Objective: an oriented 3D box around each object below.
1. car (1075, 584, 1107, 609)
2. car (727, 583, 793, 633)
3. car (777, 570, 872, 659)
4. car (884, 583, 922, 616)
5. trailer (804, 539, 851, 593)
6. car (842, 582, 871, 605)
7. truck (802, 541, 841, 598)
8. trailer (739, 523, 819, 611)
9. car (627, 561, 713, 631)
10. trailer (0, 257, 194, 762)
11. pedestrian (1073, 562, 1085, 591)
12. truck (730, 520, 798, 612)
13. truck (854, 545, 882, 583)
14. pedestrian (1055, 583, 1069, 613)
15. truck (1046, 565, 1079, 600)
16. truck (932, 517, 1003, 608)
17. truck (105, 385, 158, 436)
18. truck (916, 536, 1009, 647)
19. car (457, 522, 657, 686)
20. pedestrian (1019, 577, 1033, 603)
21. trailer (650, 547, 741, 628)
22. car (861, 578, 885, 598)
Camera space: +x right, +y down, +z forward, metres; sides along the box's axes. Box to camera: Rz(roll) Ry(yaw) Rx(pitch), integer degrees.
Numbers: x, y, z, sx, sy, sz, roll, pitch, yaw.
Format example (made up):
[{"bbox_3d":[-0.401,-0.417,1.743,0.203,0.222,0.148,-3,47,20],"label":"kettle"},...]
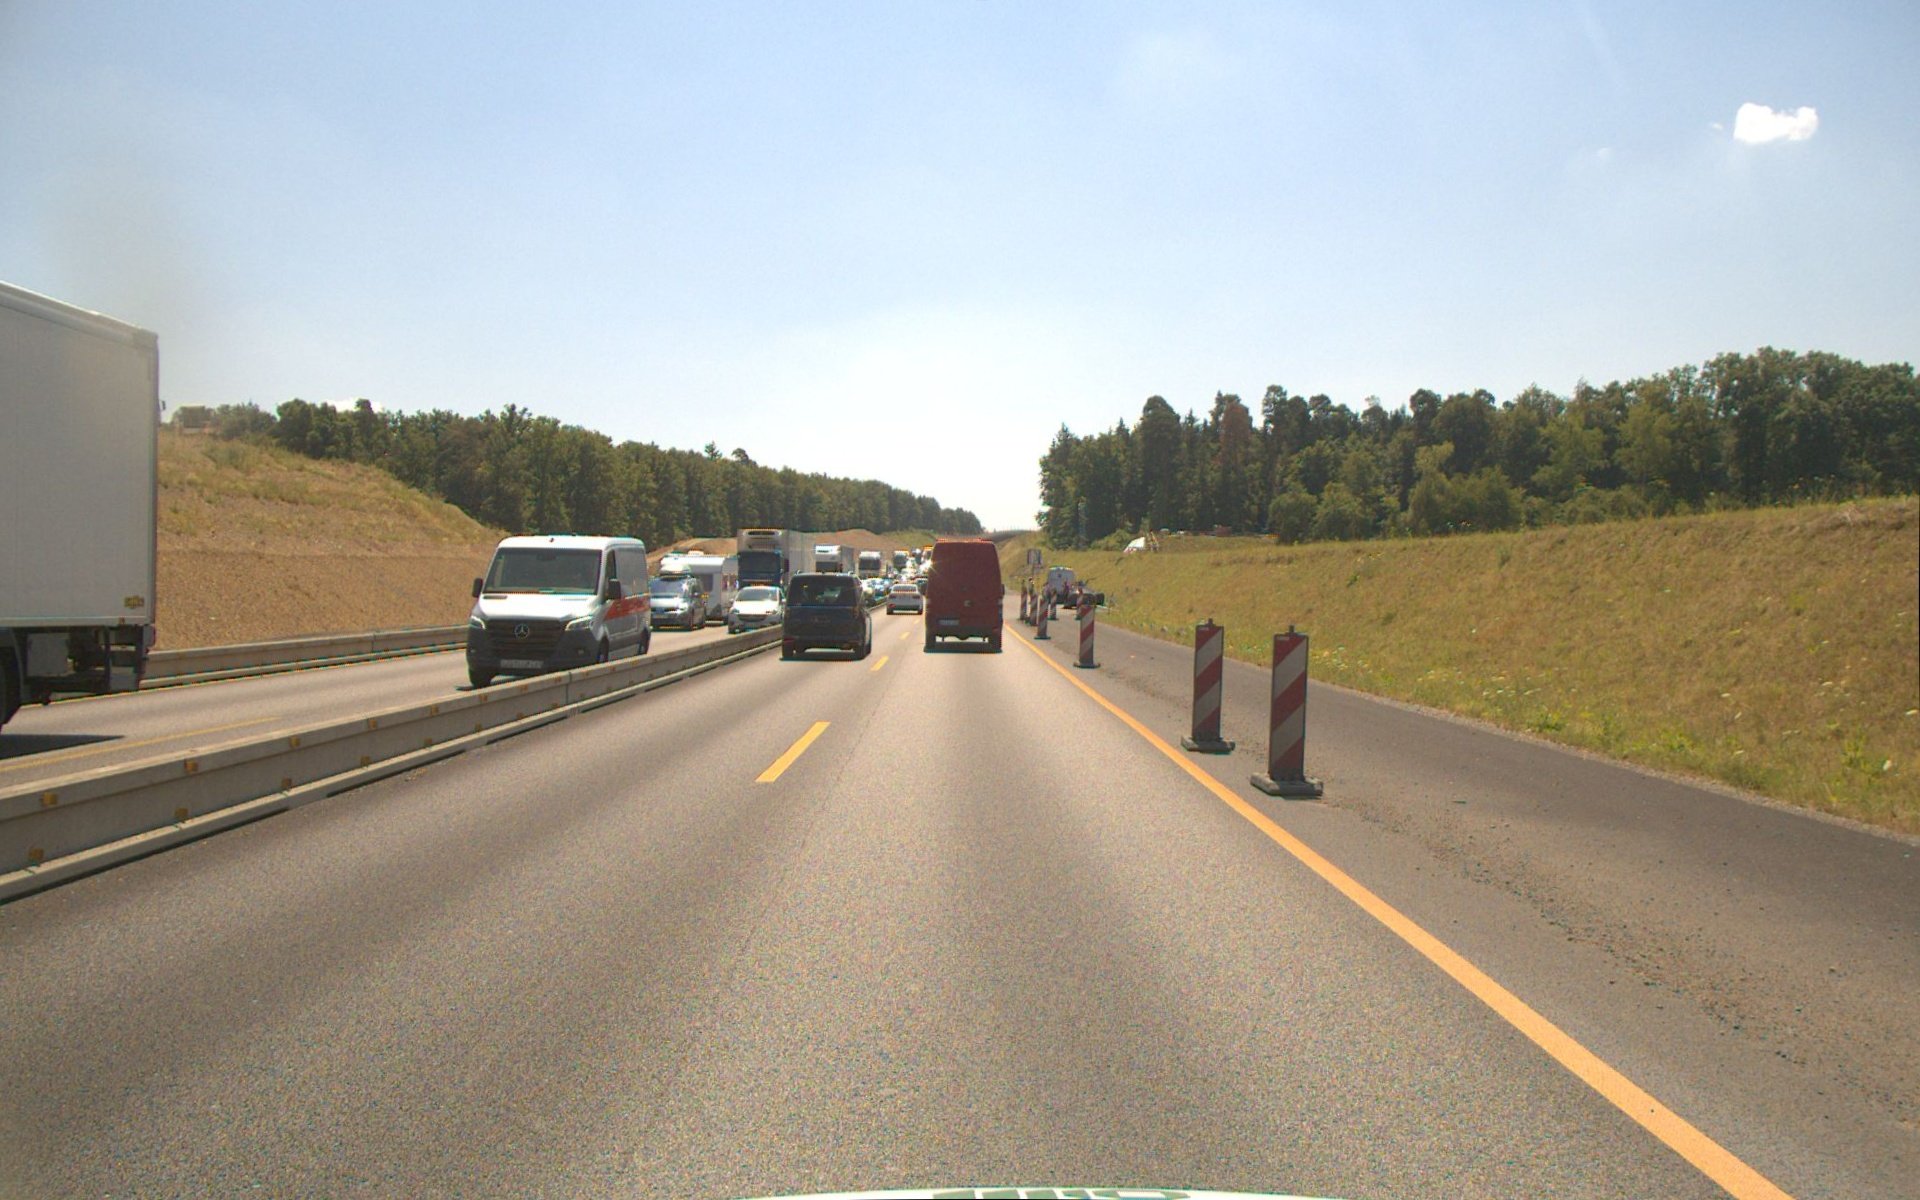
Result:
[{"bbox_3d":[8.159,-0.259,103.599,1.620,1.451,4.545,-2,1,0],"label":"car"},{"bbox_3d":[-6.396,0.247,53.214,1.654,1.528,3.976,1,0,-1],"label":"car"},{"bbox_3d":[-2.975,0.270,37.188,1.715,1.856,4.782,1,1,0],"label":"car"},{"bbox_3d":[-2.835,-0.022,82.955,1.794,1.548,3.961,1,0,0],"label":"car"},{"bbox_3d":[-10.291,-2.591,129.801,2.599,4.007,13.995,1,1,0],"label":"trailer"},{"bbox_3d":[-7.082,-0.425,113.245,1.771,1.514,4.242,1,0,-1],"label":"car"},{"bbox_3d":[-10.243,-2.255,122.848,2.539,4.124,5.149,1,1,-1],"label":"truck"},{"bbox_3d":[-9.472,-1.693,88.386,2.451,4.252,15.534,-1,1,0],"label":"trailer"},{"bbox_3d":[-9.568,-0.124,54.915,1.953,2.193,4.864,1,0,0],"label":"car"},{"bbox_3d":[-9.290,-0.741,10.264,2.796,4.165,13.651,-1,0,0],"label":"trailer"},{"bbox_3d":[7.680,-1.540,106.781,0.613,1.860,0.641,1,1,-12],"label":"pedestrian"},{"bbox_3d":[-9.523,-1.616,80.869,2.440,4.272,5.912,-1,0,1],"label":"truck"},{"bbox_3d":[-10.186,-3.958,184.132,2.712,4.114,4.943,1,0,0],"label":"truck"},{"bbox_3d":[6.347,-0.113,103.077,0.631,1.860,0.555,1,1,-21],"label":"pedestrian"},{"bbox_3d":[7.580,-1.295,121.827,2.084,2.499,5.930,1,1,7],"label":"truck"},{"bbox_3d":[0.430,-2.323,110.886,4.310,5.592,16.602,1,0,0],"label":"truck"},{"bbox_3d":[-62.786,-14.300,125.321,2.335,2.949,8.263,1,0,-35],"label":"truck"},{"bbox_3d":[-0.004,-0.207,42.605,2.110,2.635,5.330,1,0,-2],"label":"truck"},{"bbox_3d":[-6.309,0.065,26.578,1.953,2.332,5.342,1,0,-1],"label":"car"},{"bbox_3d":[4.691,-0.694,118.106,0.714,1.860,0.714,1,0,-25],"label":"pedestrian"},{"bbox_3d":[-9.622,-0.466,60.661,2.264,2.733,6.755,-1,0,-1],"label":"trailer"},{"bbox_3d":[-6.973,-0.962,133.206,1.739,1.582,4.138,-1,1,-1],"label":"car"}]
